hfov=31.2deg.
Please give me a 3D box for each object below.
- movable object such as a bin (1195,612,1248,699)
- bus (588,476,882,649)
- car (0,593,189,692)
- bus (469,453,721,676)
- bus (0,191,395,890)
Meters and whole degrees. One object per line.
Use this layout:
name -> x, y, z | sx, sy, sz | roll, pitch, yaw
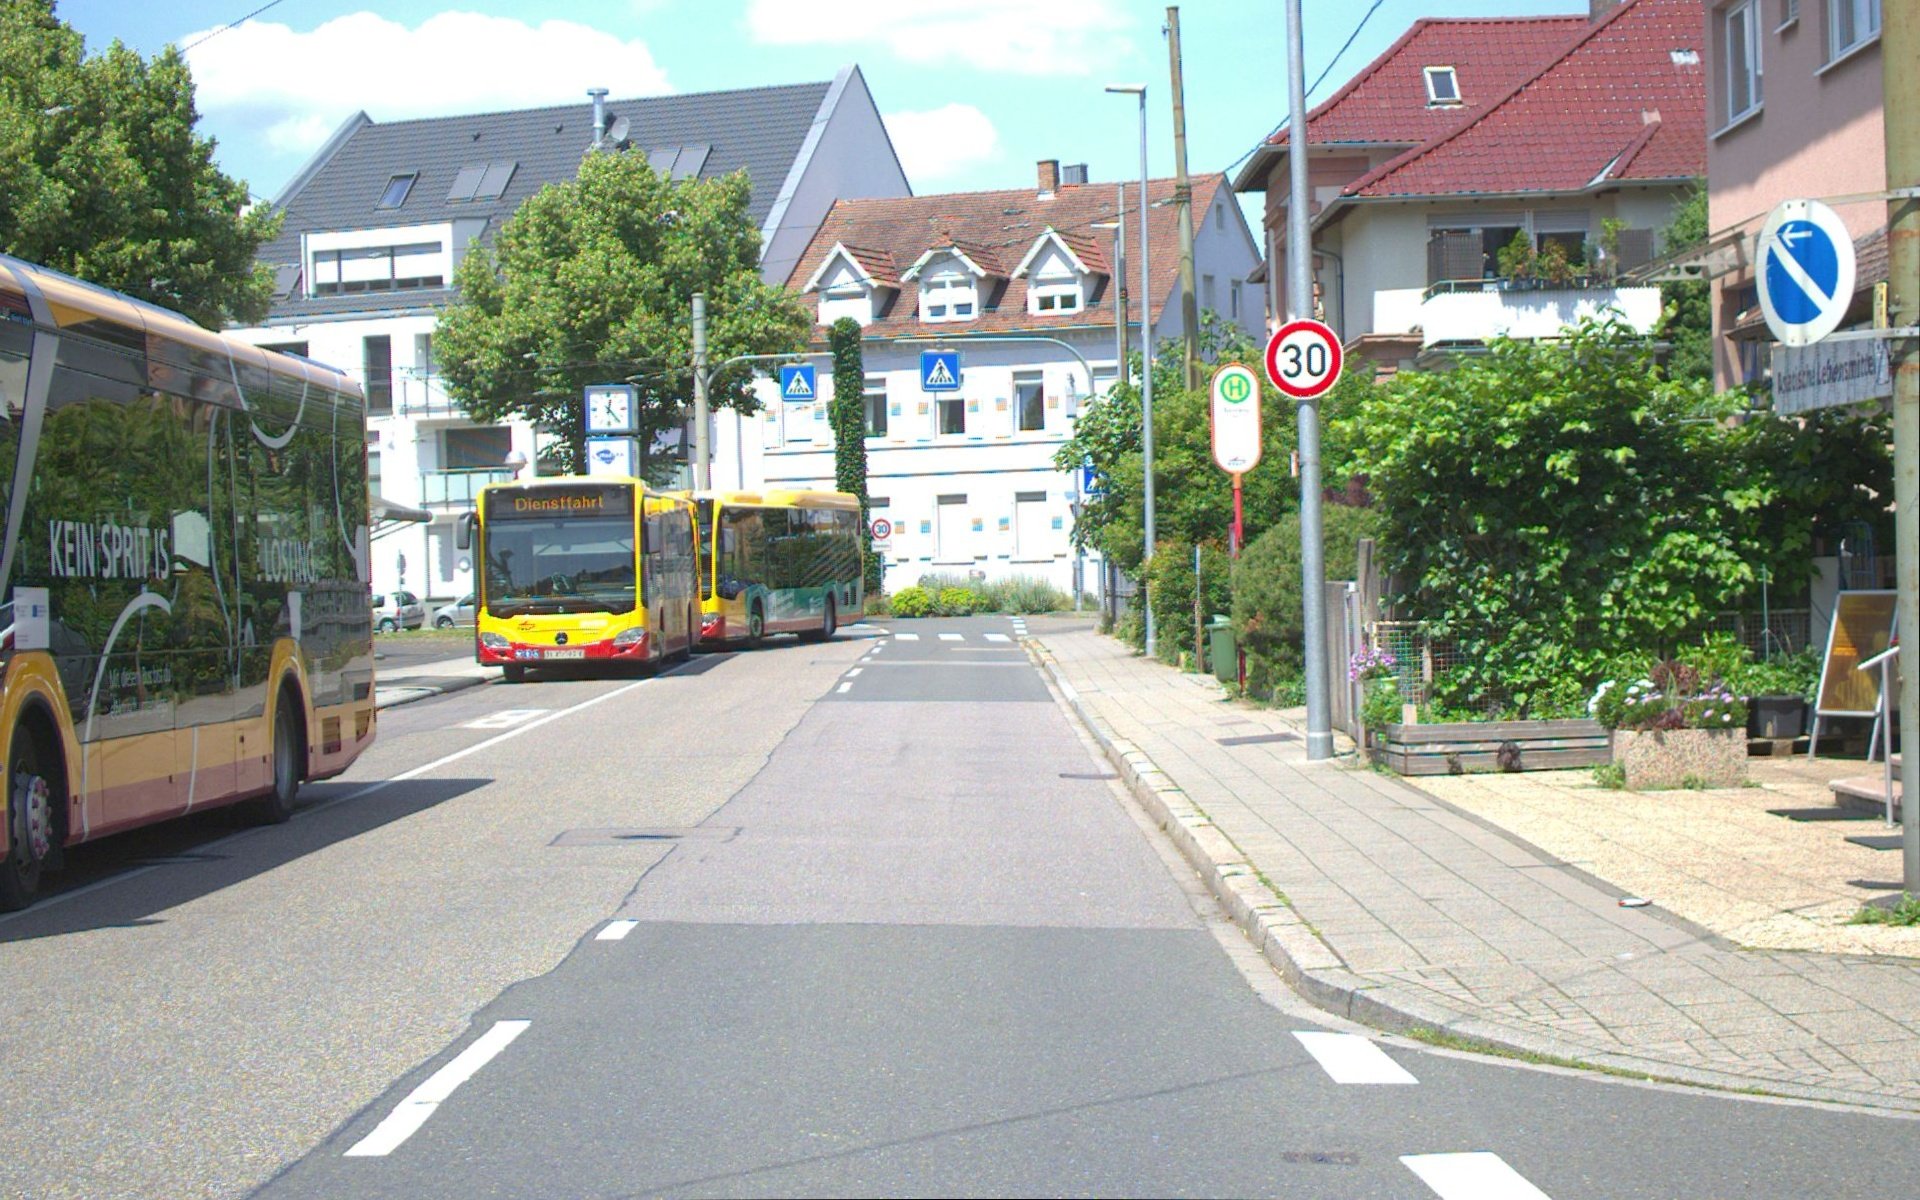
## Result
movable object such as a bin -> 2.830, 0.600, 37.267 | 0.406, 0.904, 0.729 | -5, -1, -3
bus -> -4.344, -0.832, 70.011 | 2.781, 3.197, 12.300 | 1, 1, 12
car -> -12.797, 0.610, 49.150 | 3.277, 1.368, 1.469 | 1, -1, -20
bus -> -5.783, -0.529, 56.547 | 2.907, 3.237, 12.119 | 1, 0, 0
bus -> -5.862, -0.217, 20.280 | 2.898, 3.236, 12.195 | 1, -1, 1
